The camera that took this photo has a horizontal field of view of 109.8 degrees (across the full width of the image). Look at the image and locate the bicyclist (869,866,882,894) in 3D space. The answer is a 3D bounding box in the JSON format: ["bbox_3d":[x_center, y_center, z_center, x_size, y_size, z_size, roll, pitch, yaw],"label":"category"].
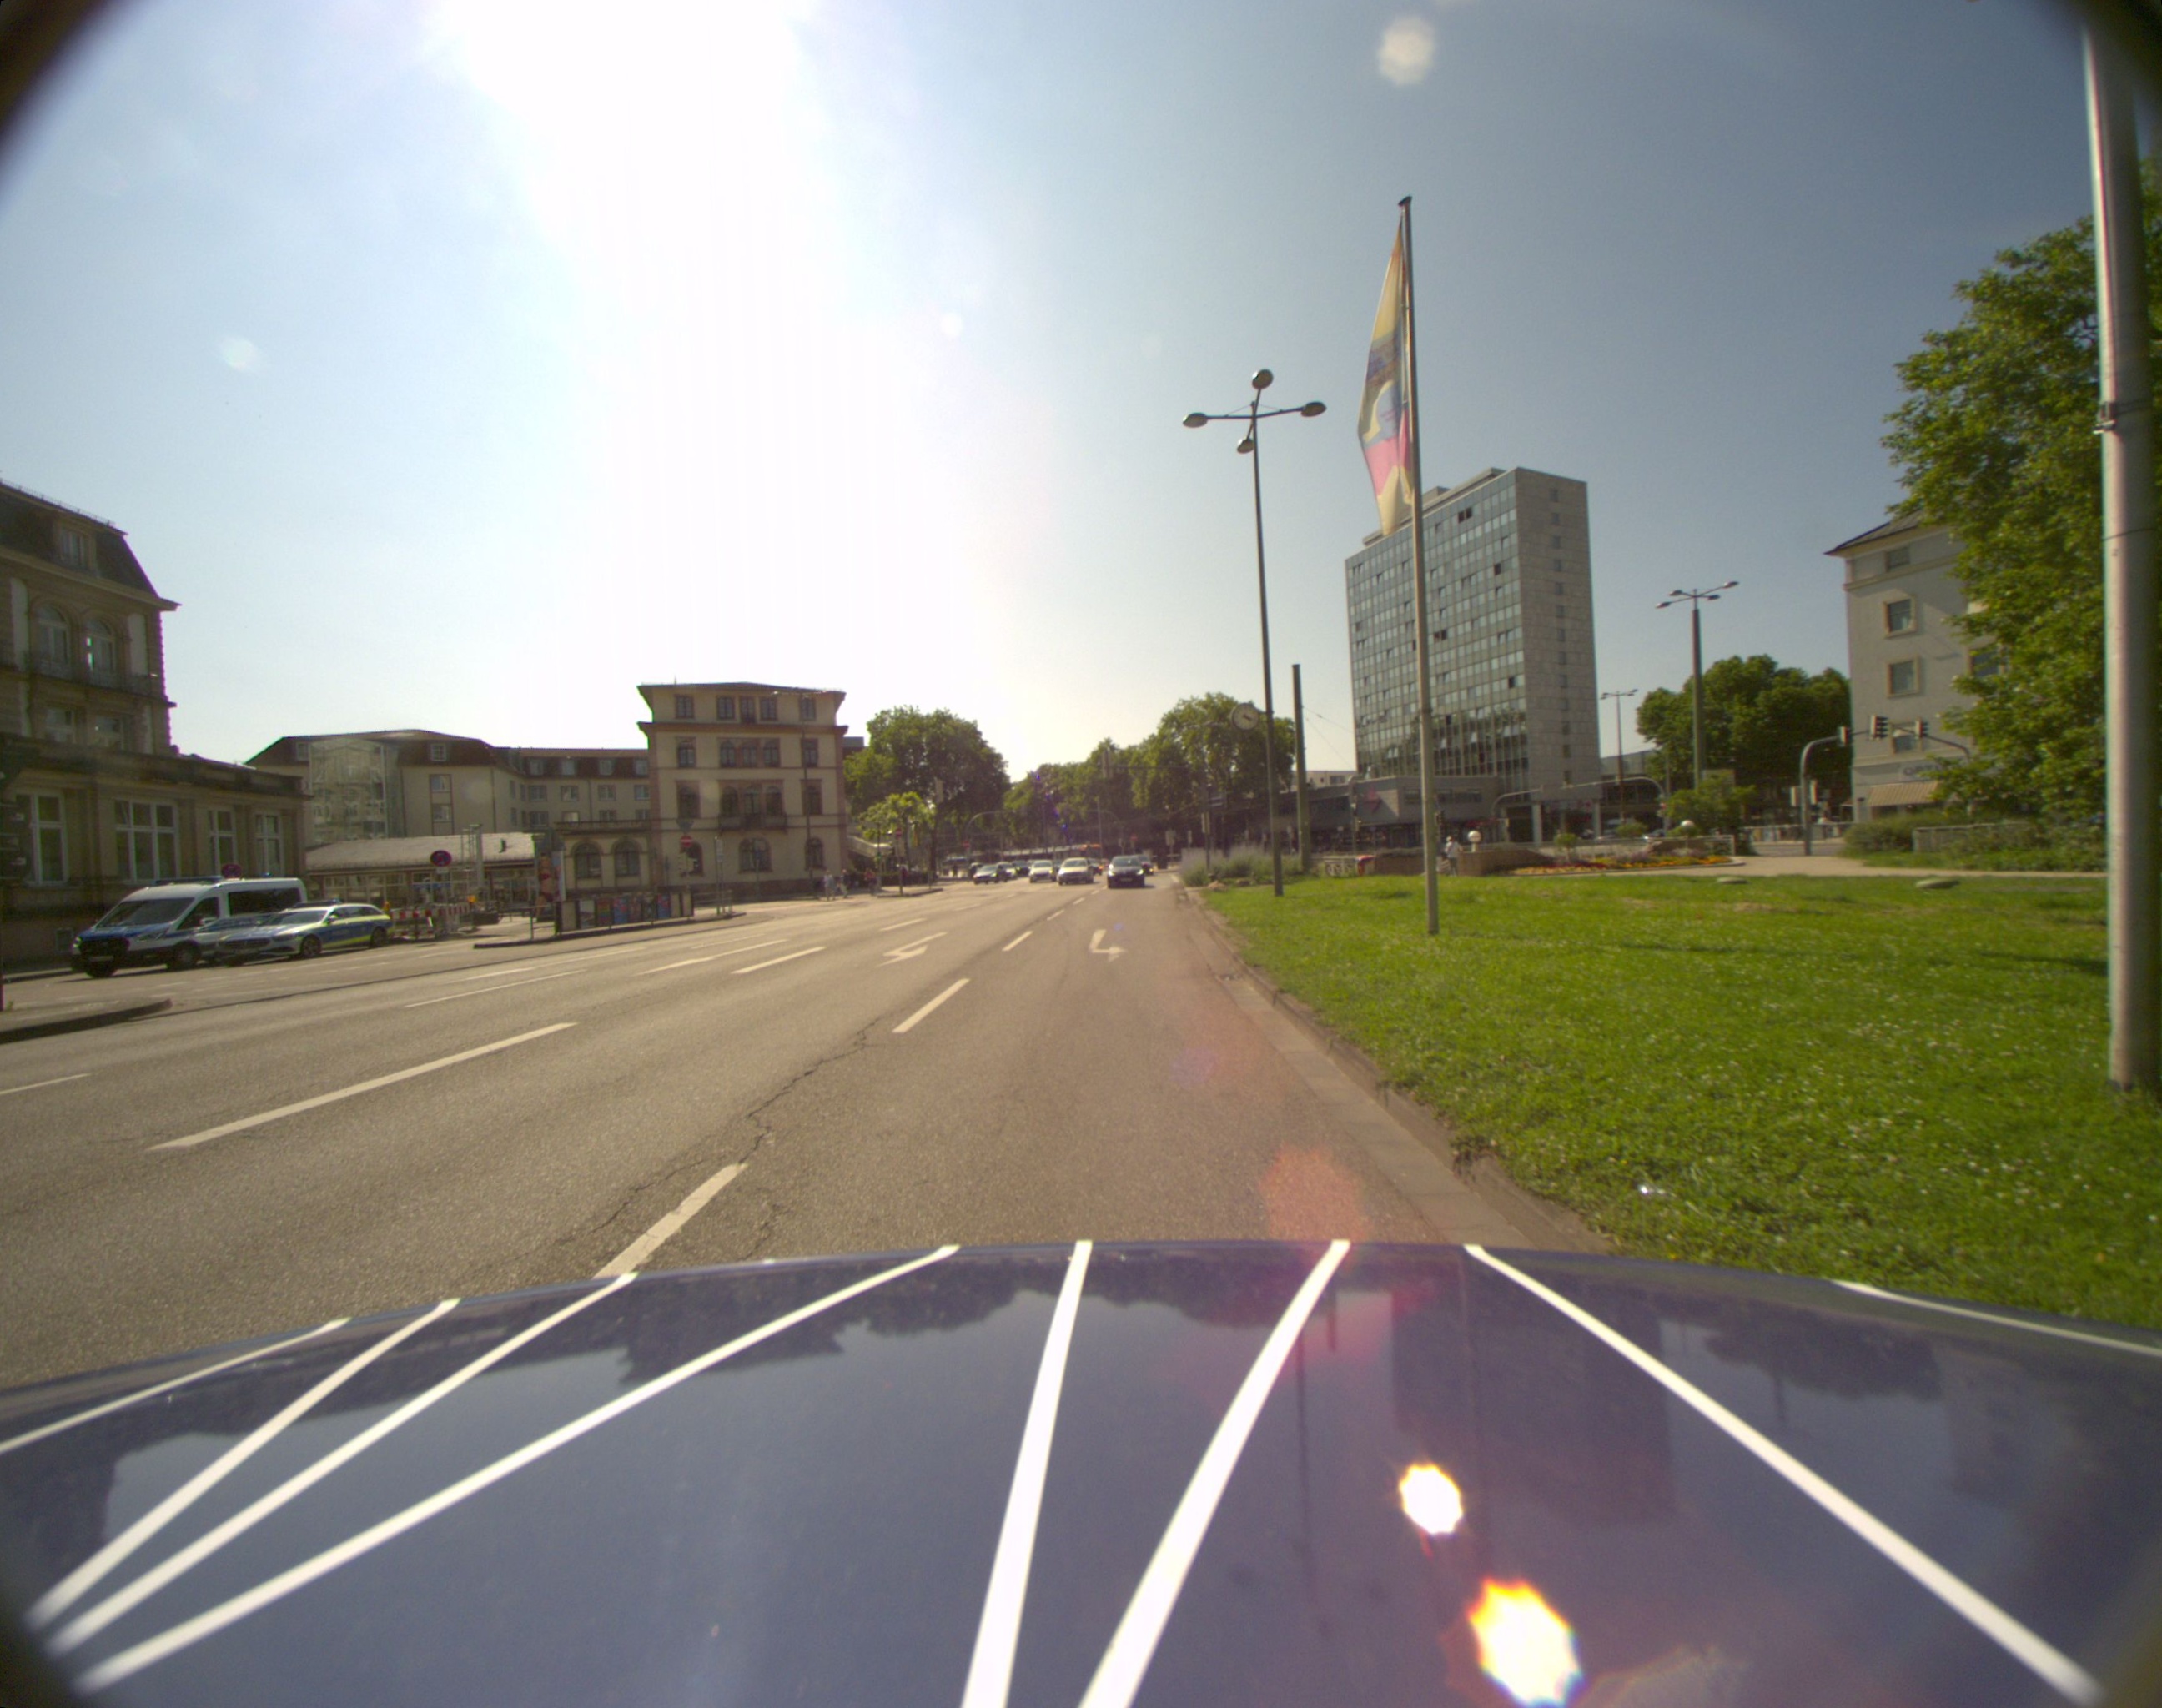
[{"bbox_3d":[-12.200,1.545,45.193,0.593,1.597,0.683,-3,1,-9],"label":"bicyclist"}]

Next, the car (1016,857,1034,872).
[{"bbox_3d":[-5.865,1.078,79.151,1.792,1.443,3.972,-2,0,-5],"label":"car"}]

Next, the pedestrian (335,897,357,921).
[{"bbox_3d":[-51.986,3.899,53.756,0.723,1.594,0.719,-3,0,8],"label":"pedestrian"}]

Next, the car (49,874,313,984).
[{"bbox_3d":[-25.506,1.968,21.945,2.000,2.588,5.312,-4,0,-13],"label":"car"}]

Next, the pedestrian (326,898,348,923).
[{"bbox_3d":[-51.267,3.881,52.350,0.723,1.594,0.719,-3,0,9],"label":"pedestrian"}]

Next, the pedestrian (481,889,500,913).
[{"bbox_3d":[-41.567,3.317,53.503,0.724,1.594,0.719,-3,0,0],"label":"pedestrian"}]

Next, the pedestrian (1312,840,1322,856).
[{"bbox_3d":[26.726,-0.724,86.117,0.823,1.796,0.671,-2,1,-6],"label":"pedestrian"}]

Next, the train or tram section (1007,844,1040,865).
[{"bbox_3d":[-9.920,0.163,129.791,2.738,3.248,8.721,-4,0,-24],"label":"train or tram section"}]

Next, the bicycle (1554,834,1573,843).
[{"bbox_3d":[53.085,-1.722,83.574,1.811,0.878,0.592,-3,2,-12],"label":"bicycle"}]

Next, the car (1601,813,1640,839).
[{"bbox_3d":[65.807,-3.452,92.662,4.641,2.899,1.744,-3,1,-26],"label":"car"}]

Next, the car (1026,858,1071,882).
[{"bbox_3d":[-2.181,1.070,52.172,1.788,1.443,3.979,-2,0,17],"label":"car"}]

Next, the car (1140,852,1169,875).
[{"bbox_3d":[5.056,0.621,52.549,1.790,1.484,4.089,-2,0,3],"label":"car"}]

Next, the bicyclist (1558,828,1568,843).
[{"bbox_3d":[53.044,-2.039,83.556,0.684,1.518,0.582,-3,2,-12],"label":"bicyclist"}]

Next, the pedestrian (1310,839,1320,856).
[{"bbox_3d":[25.965,-0.691,84.292,0.824,1.825,0.670,-3,1,-24],"label":"pedestrian"}]

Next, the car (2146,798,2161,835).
[{"bbox_3d":[45.127,-1.590,29.928,1.519,1.456,3.403,-4,0,-23],"label":"car"}]

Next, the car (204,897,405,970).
[{"bbox_3d":[-22.922,2.250,22.769,1.823,1.617,4.874,-4,0,-14],"label":"car"}]

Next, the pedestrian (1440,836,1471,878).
[{"bbox_3d":[13.963,0.114,28.330,0.851,1.501,0.475,-3,1,-11],"label":"pedestrian"}]

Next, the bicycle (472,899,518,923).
[{"bbox_3d":[-29.634,2.882,38.424,1.820,1.093,0.504,-2,1,-6],"label":"bicycle"}]

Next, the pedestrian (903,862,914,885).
[{"bbox_3d":[-13.883,1.597,61.026,0.726,1.795,0.652,-3,1,-17],"label":"pedestrian"}]

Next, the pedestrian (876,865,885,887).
[{"bbox_3d":[-15.629,1.706,59.288,0.535,1.639,0.579,-3,1,-20],"label":"pedestrian"}]

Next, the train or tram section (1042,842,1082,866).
[{"bbox_3d":[-2.915,0.030,113.801,2.738,3.248,8.721,-4,0,-24],"label":"train or tram section"}]

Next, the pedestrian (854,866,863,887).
[{"bbox_3d":[-17.632,1.799,60.166,0.535,1.639,0.673,-3,1,-20],"label":"pedestrian"}]

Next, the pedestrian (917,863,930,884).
[{"bbox_3d":[-12.663,1.573,61.035,0.845,1.685,0.743,-3,1,-25],"label":"pedestrian"}]

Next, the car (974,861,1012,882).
[{"bbox_3d":[-6.691,1.316,58.103,1.789,1.443,3.977,-2,0,10],"label":"car"}]

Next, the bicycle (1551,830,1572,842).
[{"bbox_3d":[54.066,-2.051,85.482,1.939,1.292,0.716,-3,2,-6],"label":"bicycle"}]

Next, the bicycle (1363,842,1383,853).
[{"bbox_3d":[32.323,-0.734,84.167,1.967,1.096,0.577,-3,1,7],"label":"bicycle"}]

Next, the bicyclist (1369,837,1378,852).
[{"bbox_3d":[32.398,-1.040,84.135,0.683,1.677,0.584,-3,1,7],"label":"bicyclist"}]

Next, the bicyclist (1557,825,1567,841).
[{"bbox_3d":[54.099,-2.330,85.487,0.684,1.758,0.696,-3,2,-6],"label":"bicyclist"}]

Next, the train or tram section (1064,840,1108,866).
[{"bbox_3d":[0.593,-0.037,105.851,2.738,3.248,8.721,-4,0,-24],"label":"train or tram section"}]

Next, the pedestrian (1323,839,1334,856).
[{"bbox_3d":[26.959,-0.701,82.633,0.824,1.825,0.670,-3,1,-24],"label":"pedestrian"}]

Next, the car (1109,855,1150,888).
[{"bbox_3d":[2.310,0.781,36.437,1.790,1.443,4.281,-2,0,3],"label":"car"}]

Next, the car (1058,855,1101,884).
[{"bbox_3d":[-0.012,0.854,43.319,1.718,1.491,4.494,-2,-1,9],"label":"car"}]

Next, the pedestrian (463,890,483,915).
[{"bbox_3d":[-41.966,3.352,52.476,0.724,1.594,0.719,-3,0,-1],"label":"pedestrian"}]

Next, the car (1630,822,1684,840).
[{"bbox_3d":[56.230,-2.263,74.146,4.079,1.525,1.881,-3,0,-10],"label":"car"}]

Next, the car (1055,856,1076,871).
[{"bbox_3d":[-1.625,0.946,77.323,1.792,1.503,4.278,-2,0,-6],"label":"car"}]

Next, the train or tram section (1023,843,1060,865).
[{"bbox_3d":[-6.430,0.097,121.791,2.738,3.248,8.721,-4,0,-24],"label":"train or tram section"}]

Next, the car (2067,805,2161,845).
[{"bbox_3d":[39.066,-1.105,27.633,1.613,1.338,3.579,-4,0,-23],"label":"car"}]

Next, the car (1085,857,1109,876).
[{"bbox_3d":[1.283,0.998,63.740,1.791,1.514,3.973,-2,0,-2],"label":"car"}]

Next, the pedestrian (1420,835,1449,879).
[{"bbox_3d":[13.189,0.109,28.326,0.692,1.584,0.599,-3,1,-11],"label":"pedestrian"}]

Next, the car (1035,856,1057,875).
[{"bbox_3d":[-3.166,1.005,68.233,1.791,1.521,3.972,-2,0,-4],"label":"car"}]

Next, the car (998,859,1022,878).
[{"bbox_3d":[-6.070,1.185,65.493,1.791,1.521,3.973,-2,0,-2],"label":"car"}]

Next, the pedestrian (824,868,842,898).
[{"bbox_3d":[-14.282,1.679,43.786,0.753,1.650,0.829,-3,1,-4],"label":"pedestrian"}]

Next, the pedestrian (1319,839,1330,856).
[{"bbox_3d":[26.686,-0.710,83.337,0.824,1.825,0.733,-3,1,-24],"label":"pedestrian"}]

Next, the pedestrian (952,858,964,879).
[{"bbox_3d":[-10.770,1.273,66.338,0.590,1.834,0.730,-3,1,44],"label":"pedestrian"}]

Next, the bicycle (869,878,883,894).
[{"bbox_3d":[-12.184,1.916,45.232,0.593,0.850,1.743,-3,0,-9],"label":"bicycle"}]

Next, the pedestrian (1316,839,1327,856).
[{"bbox_3d":[25.869,-0.674,81.677,0.824,1.825,0.670,-3,1,-24],"label":"pedestrian"}]

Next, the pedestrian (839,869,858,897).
[{"bbox_3d":[-13.593,1.708,44.403,0.773,1.563,0.829,-3,1,-3],"label":"pedestrian"}]
